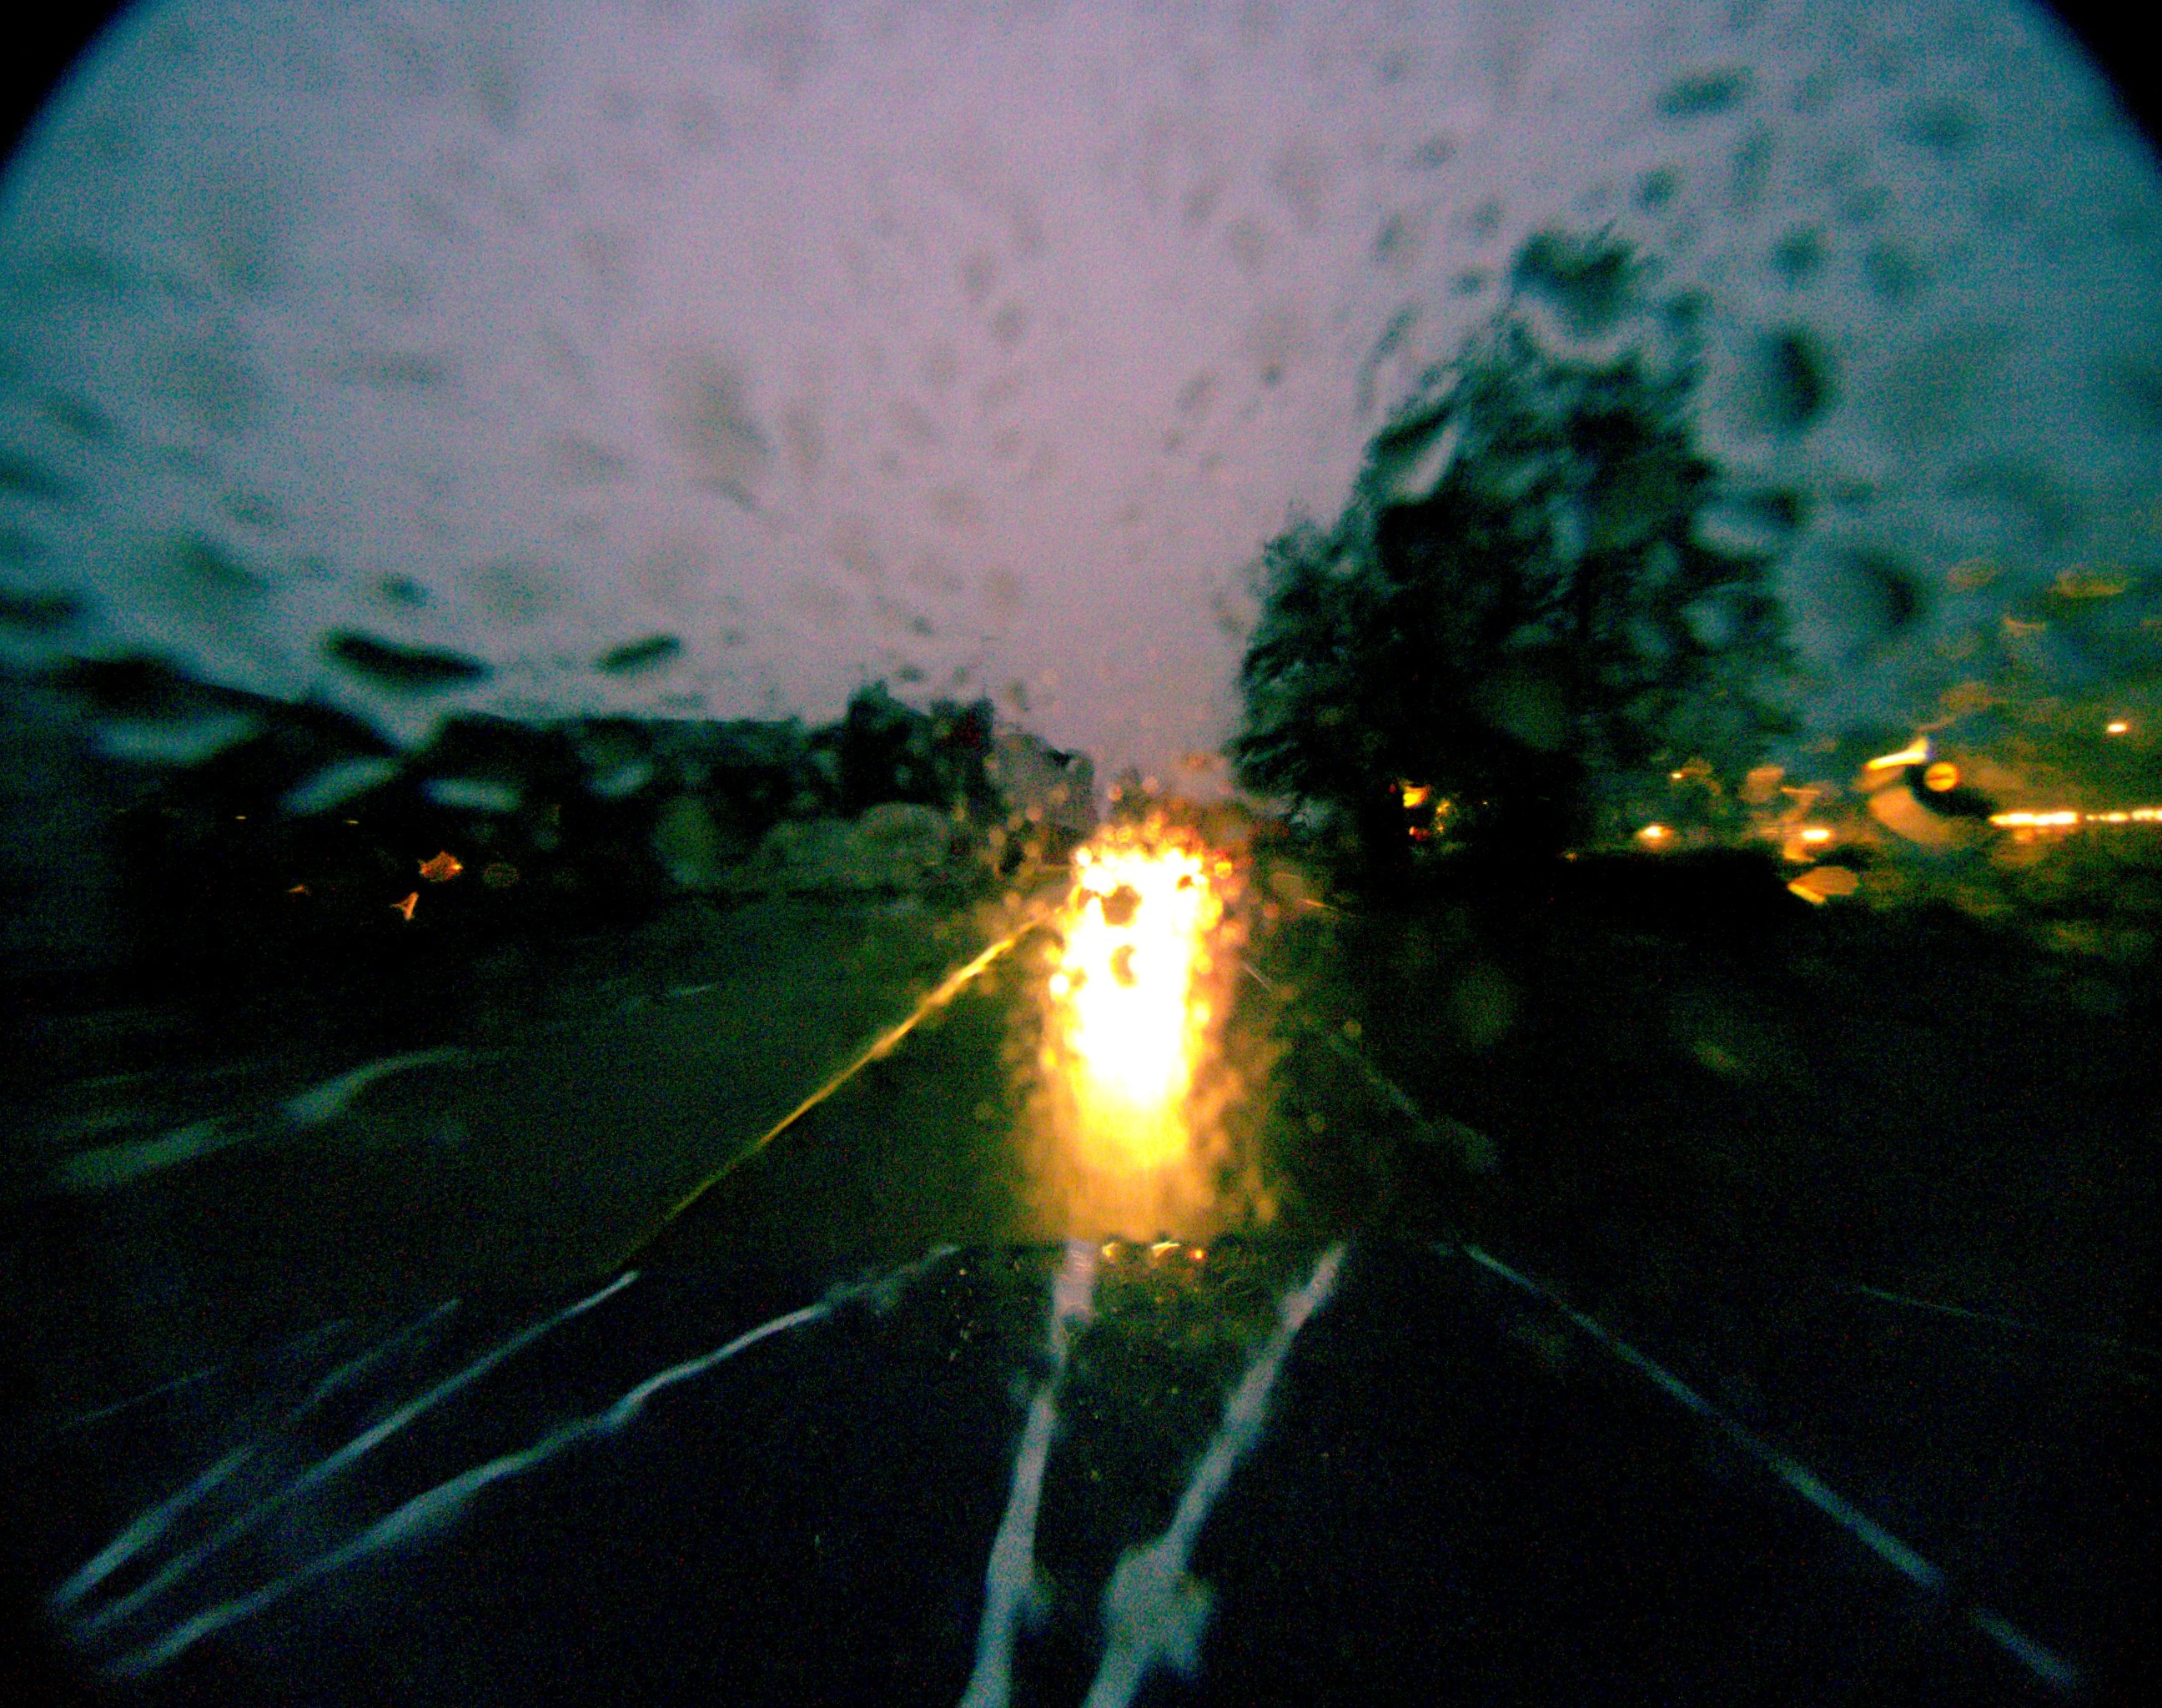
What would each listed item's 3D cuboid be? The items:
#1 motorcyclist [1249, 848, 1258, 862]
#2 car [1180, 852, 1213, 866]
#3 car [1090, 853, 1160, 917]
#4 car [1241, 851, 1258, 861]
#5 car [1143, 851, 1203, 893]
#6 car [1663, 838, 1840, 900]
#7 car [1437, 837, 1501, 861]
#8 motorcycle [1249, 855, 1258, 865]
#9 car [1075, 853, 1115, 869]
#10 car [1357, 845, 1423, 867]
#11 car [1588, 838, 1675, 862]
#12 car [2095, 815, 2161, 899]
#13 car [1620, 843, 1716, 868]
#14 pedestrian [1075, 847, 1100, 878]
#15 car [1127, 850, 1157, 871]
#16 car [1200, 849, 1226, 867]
[{"bbox_3d":[18.391,0.105,81.197,0.867,1.476,0.910,-2,1,14],"label":"motorcyclist"},{"bbox_3d":[12.608,0.507,83.199,1.779,1.486,4.035,-1,0,-21],"label":"car"},{"bbox_3d":[1.370,0.806,22.079,1.775,1.632,4.423,-1,0,6],"label":"car"},{"bbox_3d":[26.251,0.302,118.083,1.773,1.422,3.803,-2,-1,26],"label":"car"},{"bbox_3d":[4.457,0.799,36.114,1.896,1.689,4.245,-4,0,19],"label":"car"},{"bbox_3d":[24.488,0.554,27.861,4.659,1.965,2.128,-3,-1,-4],"label":"car"},{"bbox_3d":[38.619,-0.467,75.668,5.198,2.269,2.219,0,0,1],"label":"car"},{"bbox_3d":[18.413,0.643,81.199,0.867,1.018,2.112,-2,1,14],"label":"motorcycle"},{"bbox_3d":[1.604,0.774,83.933,4.179,1.432,1.799,-3,-1,7],"label":"car"},{"bbox_3d":[26.048,0.160,64.121,4.782,1.701,2.033,-1,0,0],"label":"car"},{"bbox_3d":[37.405,-0.281,51.721,4.441,1.554,2.056,0,-1,1],"label":"car"},{"bbox_3d":[30.189,-0.009,19.125,2.286,2.265,5.271,-3,-1,3],"label":"car"},{"bbox_3d":[37.003,0.112,47.978,4.441,1.554,2.056,0,-1,1],"label":"car"},{"bbox_3d":[0.408,0.498,45.504,1.256,1.855,1.304,1,1,10],"label":"pedestrian"},{"bbox_3d":[4.672,0.484,57.528,1.997,1.464,4.002,-2,0,8],"label":"car"},{"bbox_3d":[13.249,0.362,76.059,1.773,1.713,4.428,-1,0,21],"label":"car"}]
